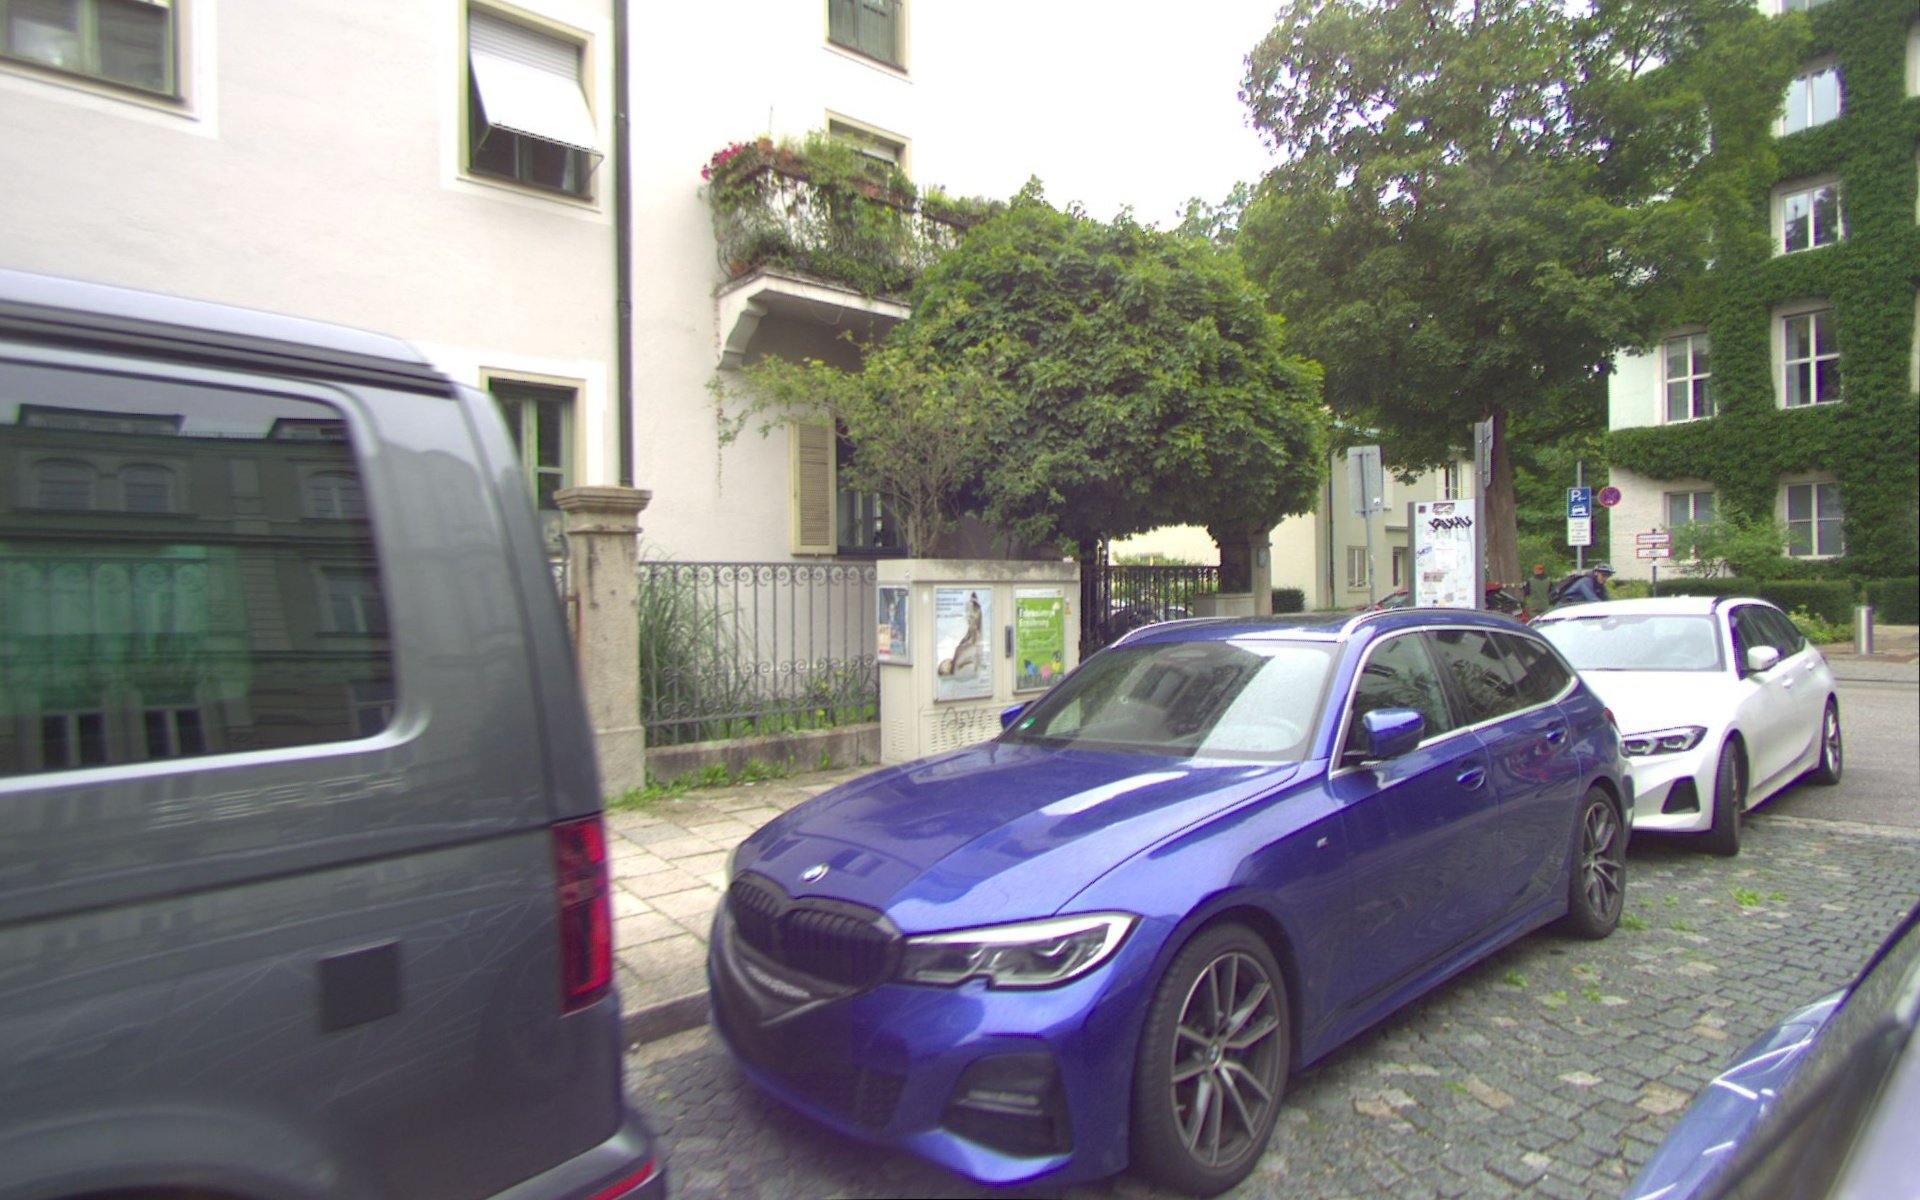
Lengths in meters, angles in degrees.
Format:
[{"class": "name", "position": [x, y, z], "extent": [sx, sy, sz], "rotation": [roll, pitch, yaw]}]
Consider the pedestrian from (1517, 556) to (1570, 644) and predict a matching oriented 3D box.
[{"class": "pedestrian", "position": [12.735, -0.008, 22.103], "extent": [0.702, 1.875, 0.796], "rotation": [-2, 2, -39]}]

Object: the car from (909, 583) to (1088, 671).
[{"class": "car", "position": [0.737, 0.503, 21.502], "extent": [1.745, 1.564, 3.709], "rotation": [-7, 4, -37]}]

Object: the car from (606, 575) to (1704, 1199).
[{"class": "car", "position": [1.263, 0.715, 4.223], "extent": [4.791, 1.526, 1.932], "rotation": [-2, 0, -41]}]

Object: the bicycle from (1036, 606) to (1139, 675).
[{"class": "bicycle", "position": [2.126, 0.653, 17.151], "extent": [0.652, 1.077, 1.939], "rotation": [0, 0, -32]}]

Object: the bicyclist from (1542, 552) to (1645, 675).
[{"class": "bicyclist", "position": [9.134, 0.182, 14.603], "extent": [0.767, 1.688, 1.033], "rotation": [-3, 0, -40]}]

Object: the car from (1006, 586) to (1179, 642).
[{"class": "car", "position": [3.684, 0.358, 28.961], "extent": [1.783, 1.419, 4.913], "rotation": [-3, 2, -42]}]

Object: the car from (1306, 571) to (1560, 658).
[{"class": "car", "position": [9.911, 0.246, 21.495], "extent": [1.860, 1.610, 4.521], "rotation": [-3, 2, -40]}]

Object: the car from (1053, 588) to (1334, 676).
[{"class": "car", "position": [3.970, 0.509, 17.857], "extent": [1.970, 1.336, 4.589], "rotation": [2, -1, -40]}]

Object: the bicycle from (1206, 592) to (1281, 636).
[{"class": "bicycle", "position": [7.704, 0.362, 27.580], "extent": [0.639, 1.145, 2.048], "rotation": [0, 0, -33]}]

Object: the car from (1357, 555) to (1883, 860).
[{"class": "car", "position": [5.083, 0.562, 7.475], "extent": [4.835, 1.551, 1.910], "rotation": [-1, -2, -40]}]

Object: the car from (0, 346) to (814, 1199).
[{"class": "car", "position": [-2.722, 0.581, 1.060], "extent": [4.765, 1.712, 2.025], "rotation": [-1, 0, -40]}]

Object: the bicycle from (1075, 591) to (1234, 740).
[{"class": "bicycle", "position": [1.934, 0.582, 9.863], "extent": [1.887, 1.292, 0.466], "rotation": [-2, 0, -43]}]

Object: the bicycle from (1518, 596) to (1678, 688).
[{"class": "bicycle", "position": [9.171, 0.577, 14.598], "extent": [0.708, 1.221, 1.798], "rotation": [-3, 1, -40]}]
